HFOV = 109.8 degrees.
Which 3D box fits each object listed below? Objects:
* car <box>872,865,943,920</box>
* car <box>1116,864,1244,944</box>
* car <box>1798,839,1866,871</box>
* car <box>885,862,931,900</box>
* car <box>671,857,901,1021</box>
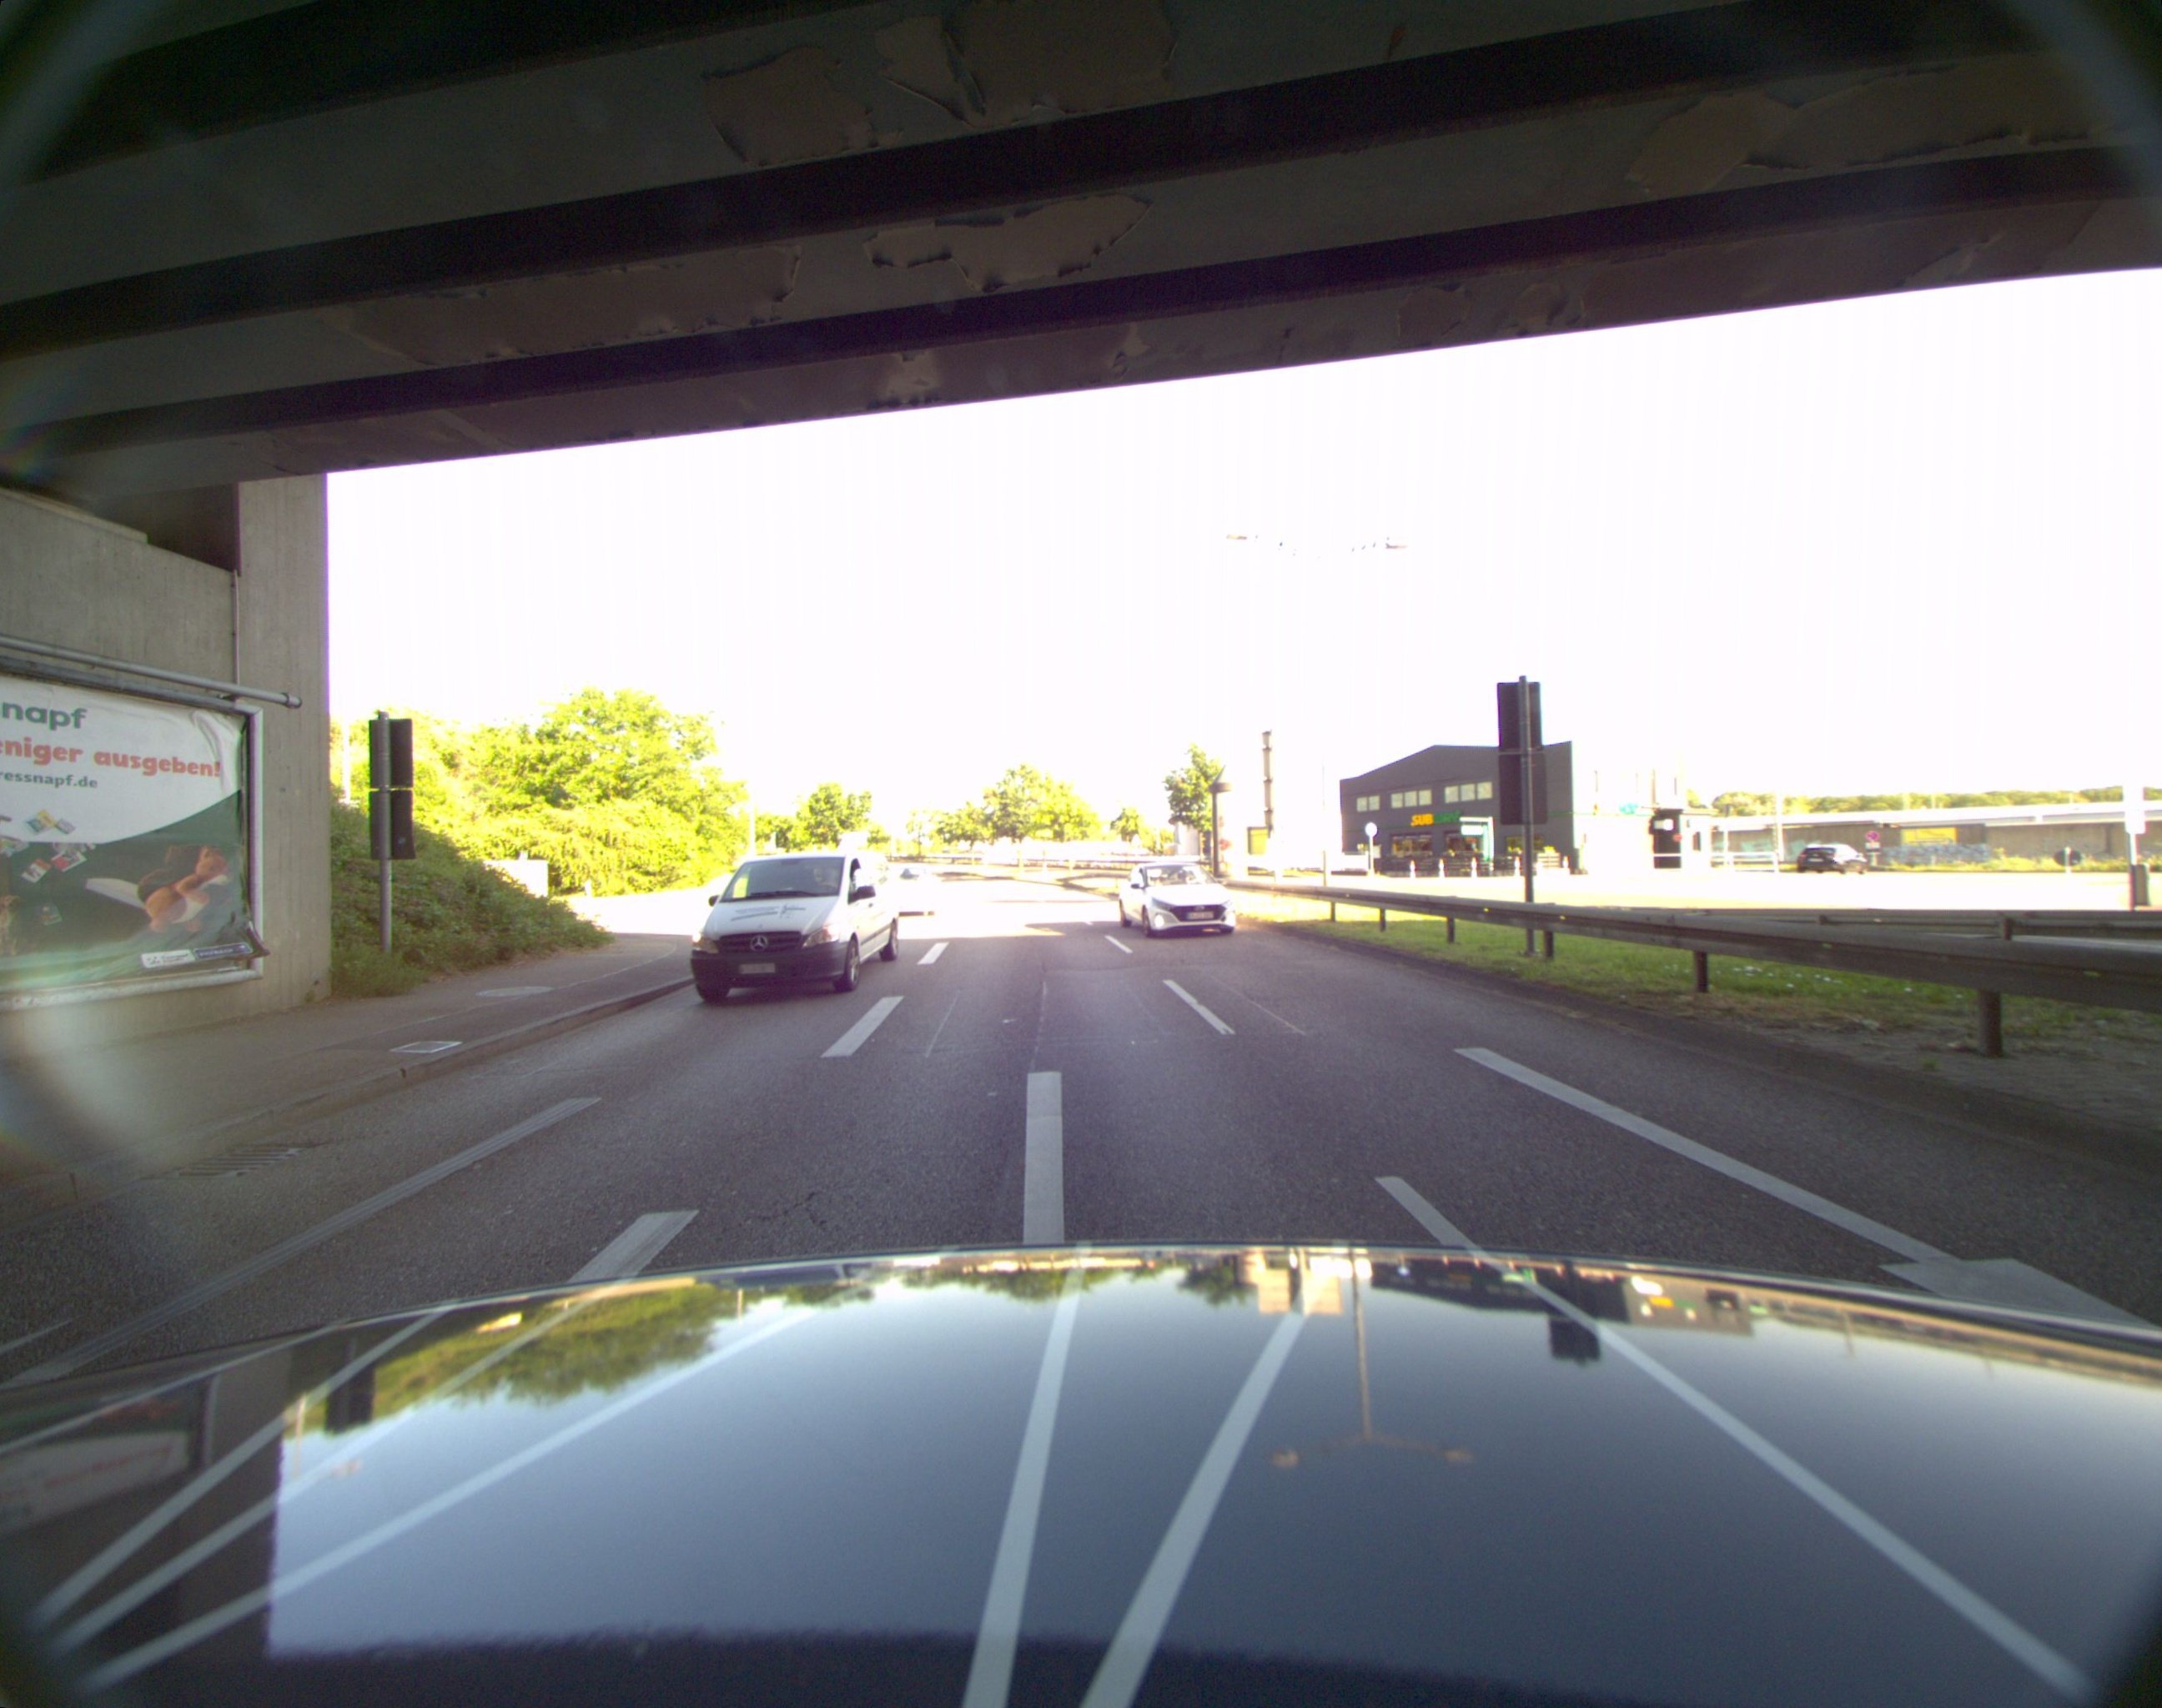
[{"bbox_3d":[-5.738,1.228,25.602,2.000,1.542,4.417,-2,0,-9],"label":"car"},{"bbox_3d":[1.929,0.972,16.012,1.738,1.395,3.870,-2,-1,-7],"label":"car"},{"bbox_3d":[38.434,0.048,38.862,4.007,1.434,1.878,-3,1,-37],"label":"car"},{"bbox_3d":[-8.355,1.251,36.537,1.781,1.591,4.099,-3,1,-17],"label":"car"},{"bbox_3d":[-3.987,0.992,11.261,1.903,1.825,4.832,-2,0,-6],"label":"car"}]
